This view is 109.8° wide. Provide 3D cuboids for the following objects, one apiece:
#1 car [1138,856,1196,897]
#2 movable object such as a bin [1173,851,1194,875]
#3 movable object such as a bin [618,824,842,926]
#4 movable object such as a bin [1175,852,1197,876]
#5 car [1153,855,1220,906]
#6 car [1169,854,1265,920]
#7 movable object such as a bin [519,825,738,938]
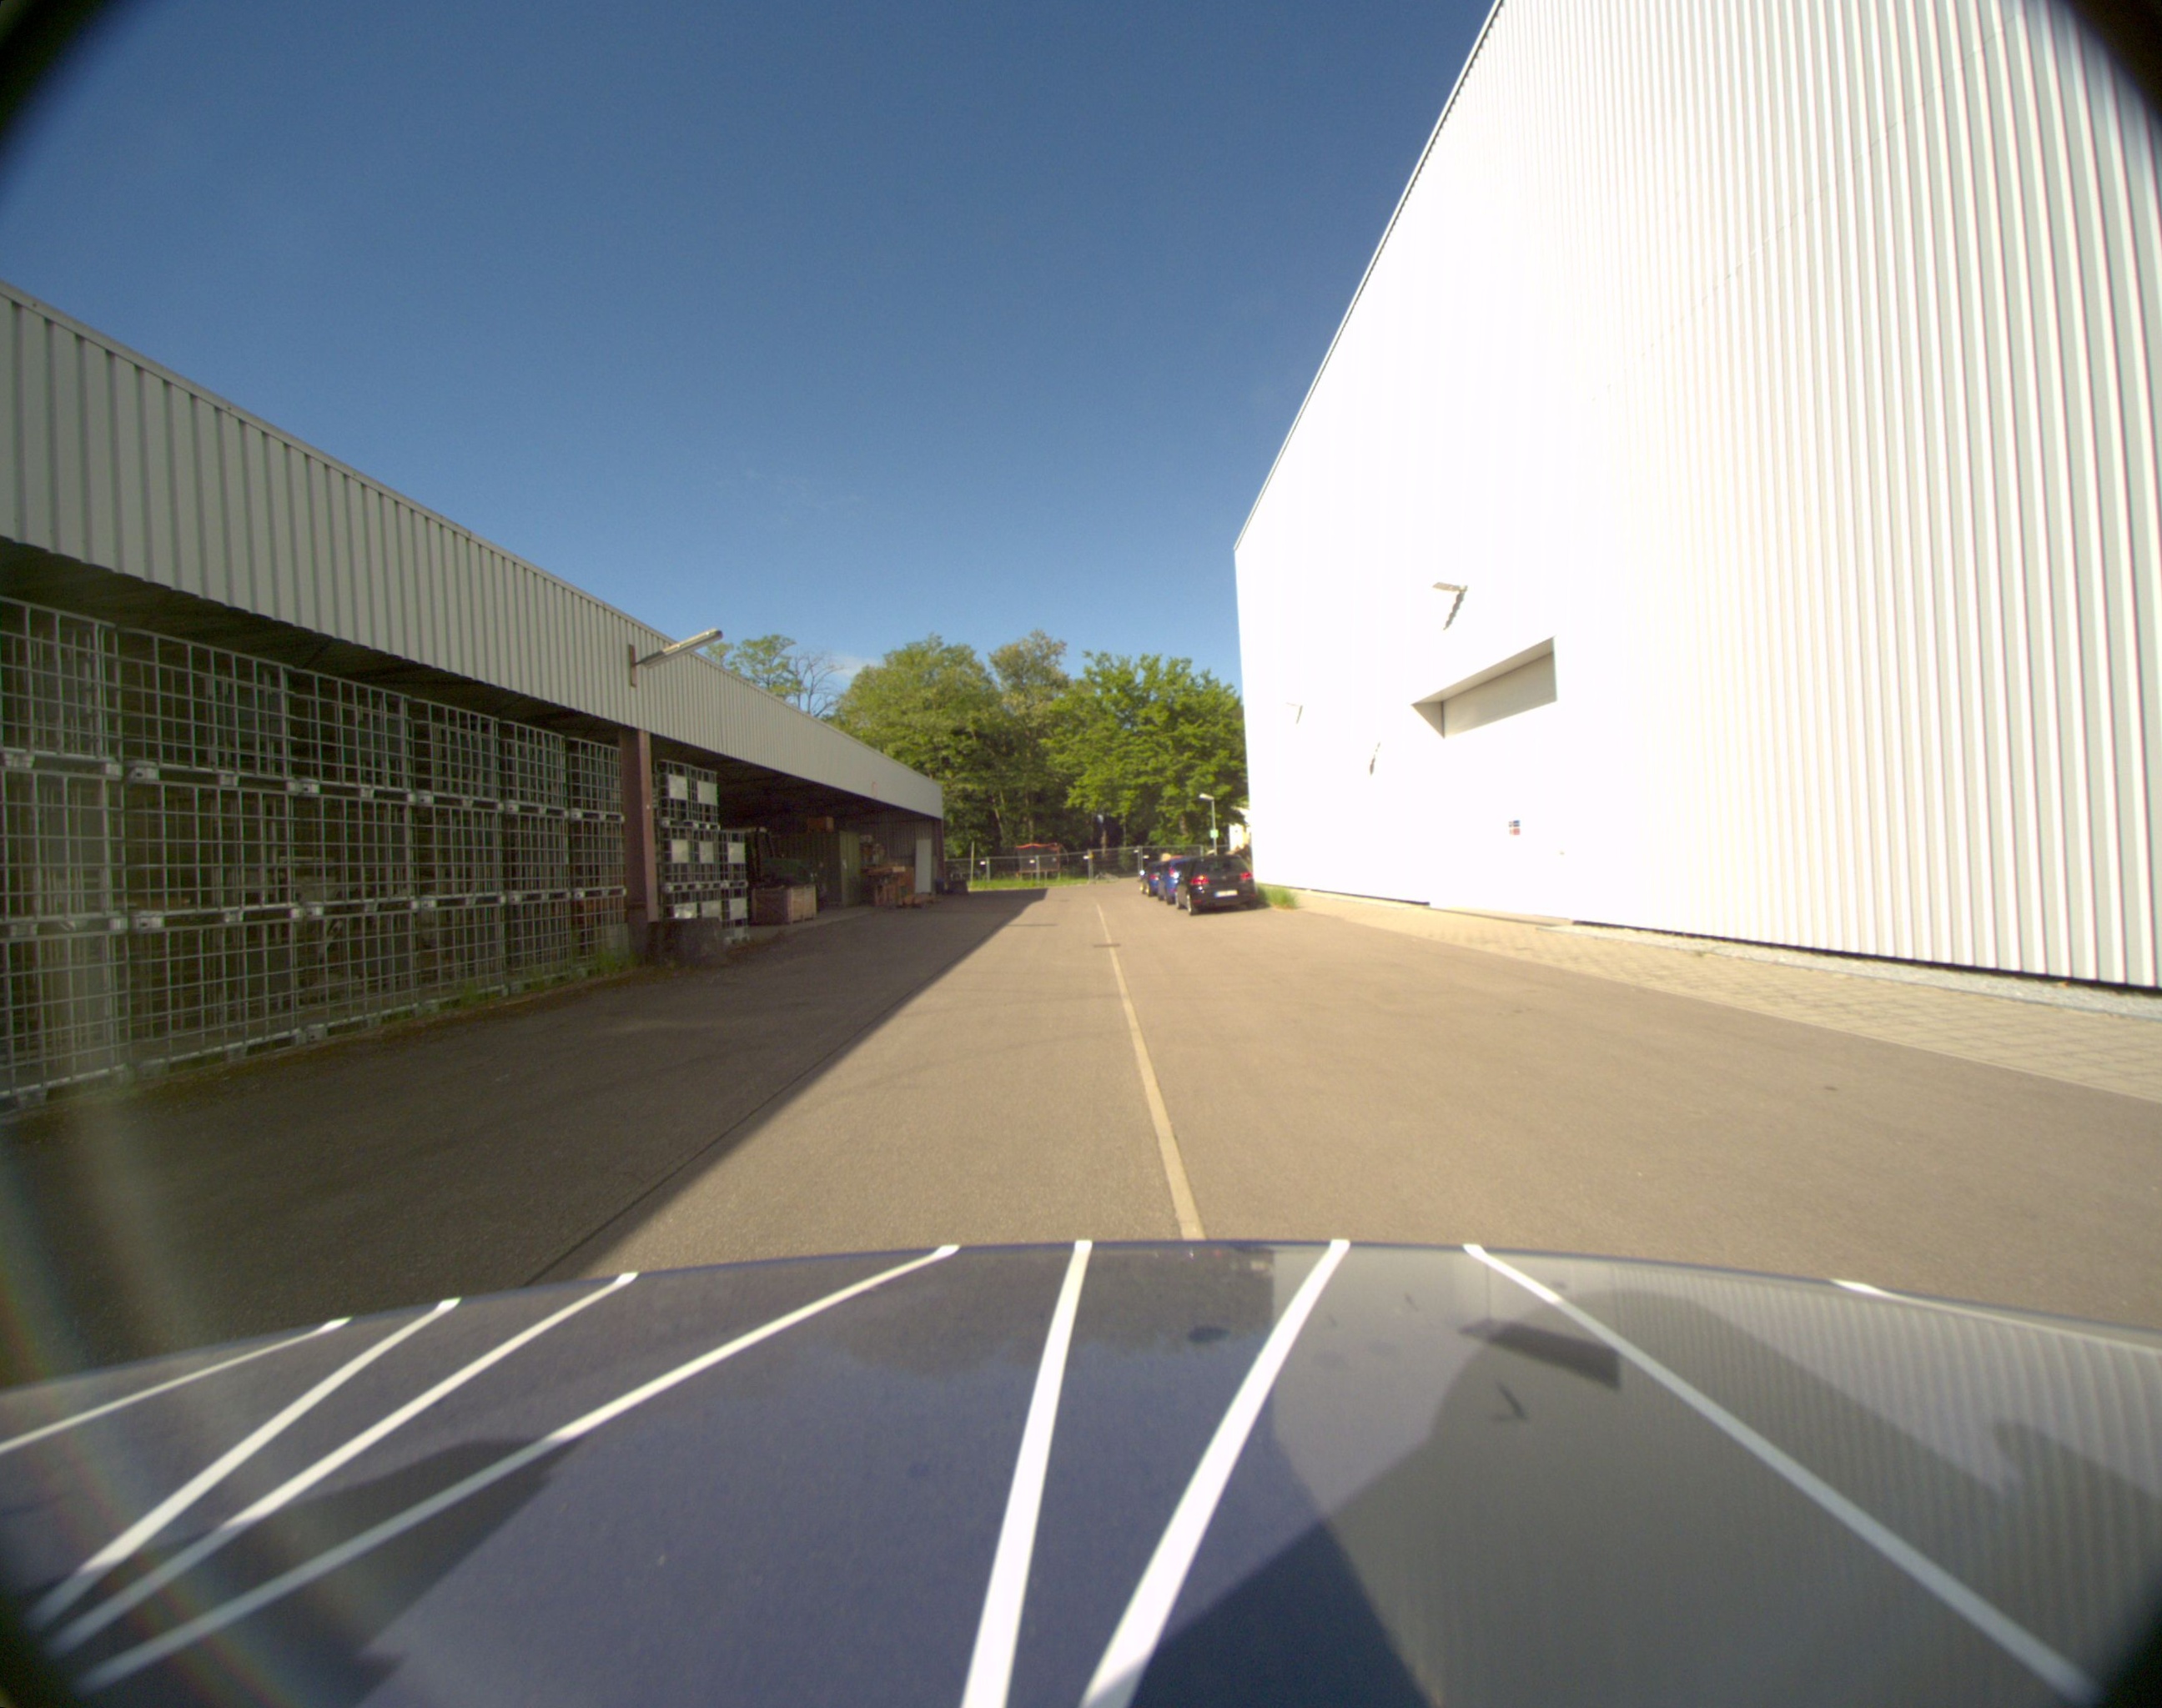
[{"bbox_3d":[3.411,0.886,30.800,1.716,1.440,3.798,-5,-1,-1],"label":"car"},{"bbox_3d":[6.437,0.595,47.895,1.141,1.469,1.280,-1,-1,1],"label":"movable object such as a bin"},{"bbox_3d":[-11.187,0.648,24.646,5.848,2.908,2.820,-2,0,1],"label":"movable object such as a bin"},{"bbox_3d":[6.410,0.586,46.531,1.141,1.426,1.289,-1,0,1],"label":"movable object such as a bin"},{"bbox_3d":[3.425,0.844,25.289,1.552,1.479,3.522,-5,-1,-1],"label":"car"},{"bbox_3d":[3.528,0.823,20.544,1.760,1.437,4.315,-6,-1,1],"label":"car"},{"bbox_3d":[-12.559,0.735,21.382,4.537,2.814,2.497,-2,0,1],"label":"movable object such as a bin"}]
